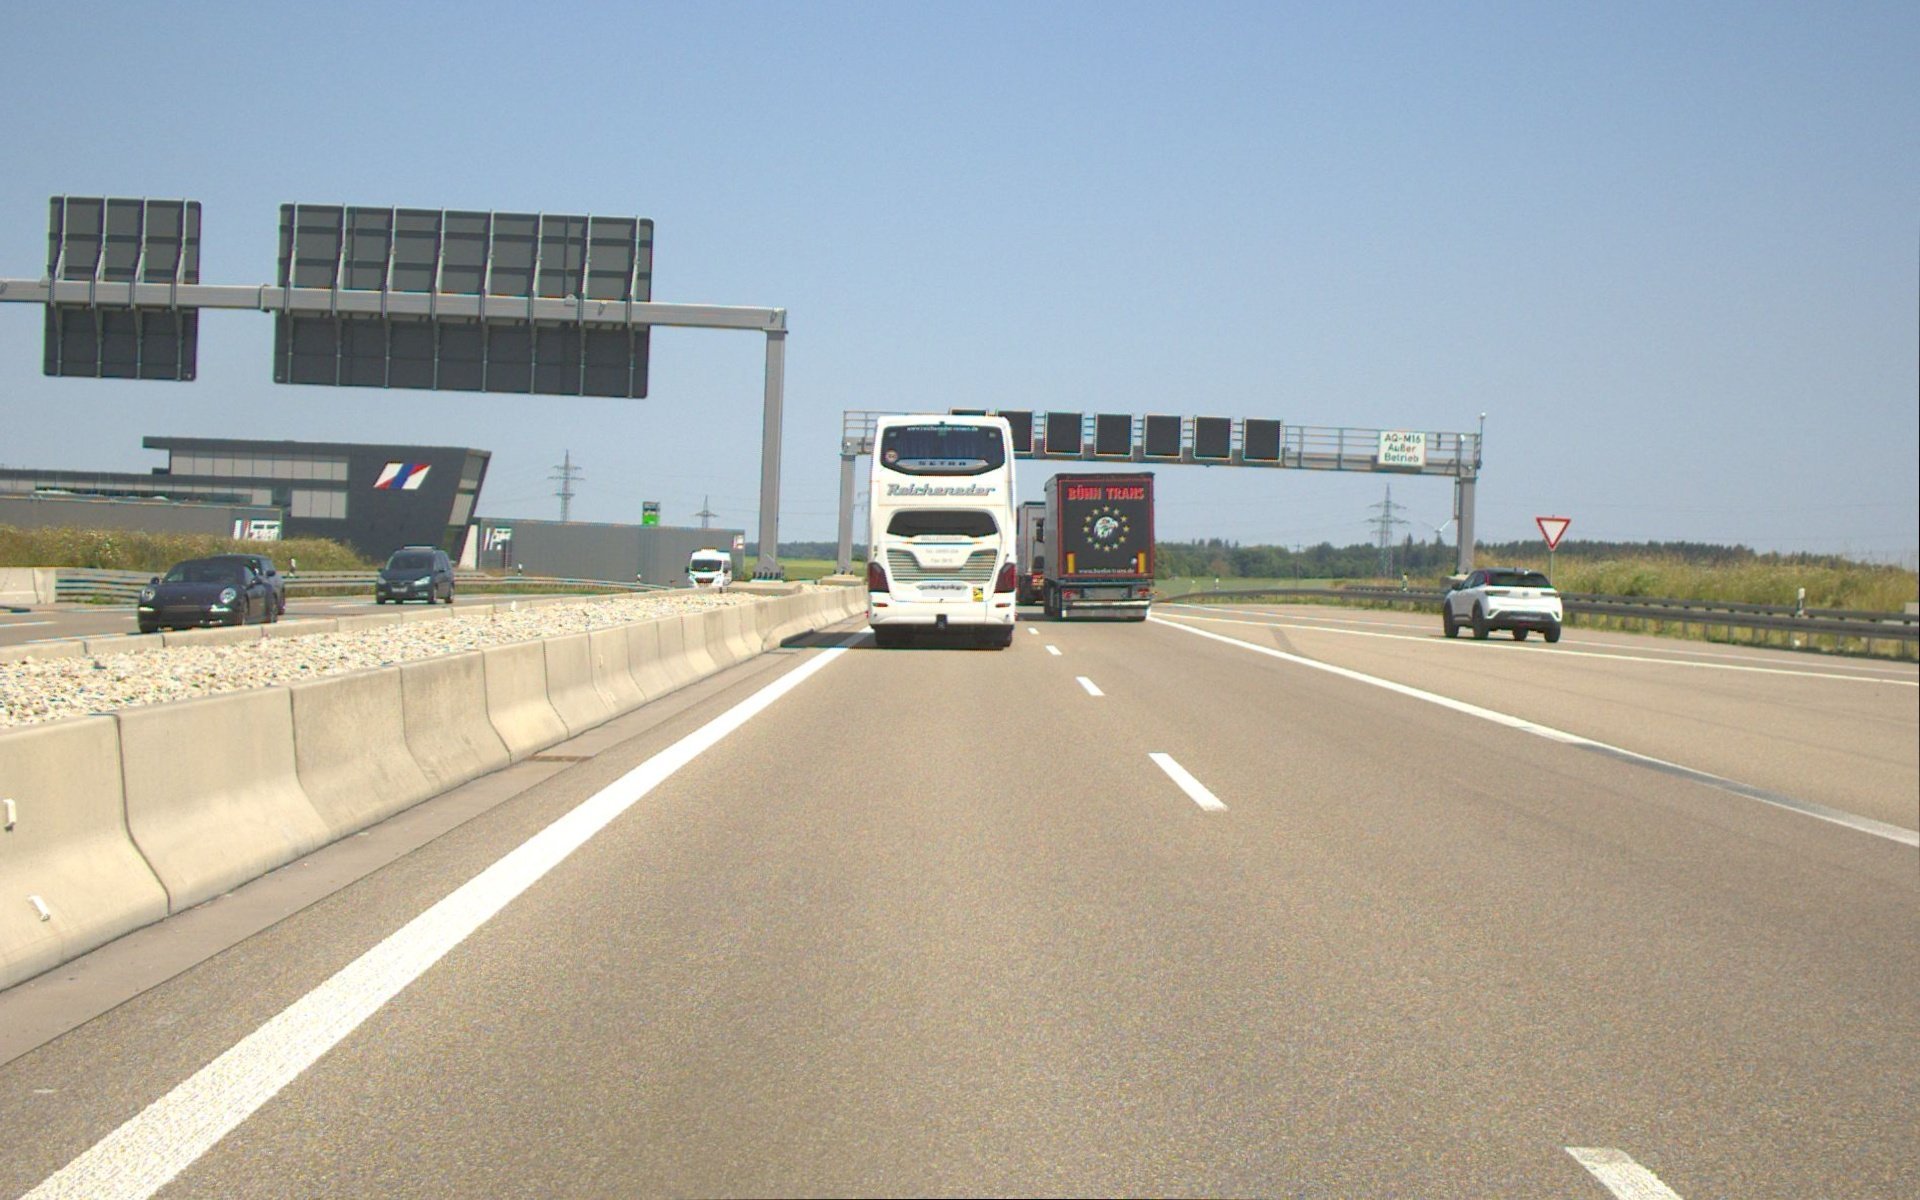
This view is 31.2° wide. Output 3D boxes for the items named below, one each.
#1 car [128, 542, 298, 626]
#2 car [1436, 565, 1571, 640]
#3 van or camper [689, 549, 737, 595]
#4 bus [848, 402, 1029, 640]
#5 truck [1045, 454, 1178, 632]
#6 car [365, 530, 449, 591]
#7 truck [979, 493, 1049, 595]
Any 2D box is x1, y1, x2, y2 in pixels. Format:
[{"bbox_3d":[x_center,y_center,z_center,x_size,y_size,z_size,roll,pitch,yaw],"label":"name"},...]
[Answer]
[{"bbox_3d":[-13.112,-0.300,60.602,1.844,1.377,4.752,1,1,1],"label":"car"},{"bbox_3d":[11.656,0.025,73.967,1.890,1.524,4.263,1,1,-5],"label":"car"},{"bbox_3d":[-14.157,-1.604,197.433,2.319,2.549,6.316,1,1,0],"label":"van or camper"},{"bbox_3d":[-0.475,-1.452,62.753,2.980,3.961,9.106,1,1,-1],"label":"bus"},{"bbox_3d":[4.174,-1.436,97.271,3.380,4.449,13.565,2,-1,2],"label":"truck"},{"bbox_3d":[-17.279,-1.249,107.572,1.846,1.817,4.921,1,1,0],"label":"car"},{"bbox_3d":[2.032,-2.123,131.810,2.437,3.776,6.494,1,1,-1],"label":"truck"}]
